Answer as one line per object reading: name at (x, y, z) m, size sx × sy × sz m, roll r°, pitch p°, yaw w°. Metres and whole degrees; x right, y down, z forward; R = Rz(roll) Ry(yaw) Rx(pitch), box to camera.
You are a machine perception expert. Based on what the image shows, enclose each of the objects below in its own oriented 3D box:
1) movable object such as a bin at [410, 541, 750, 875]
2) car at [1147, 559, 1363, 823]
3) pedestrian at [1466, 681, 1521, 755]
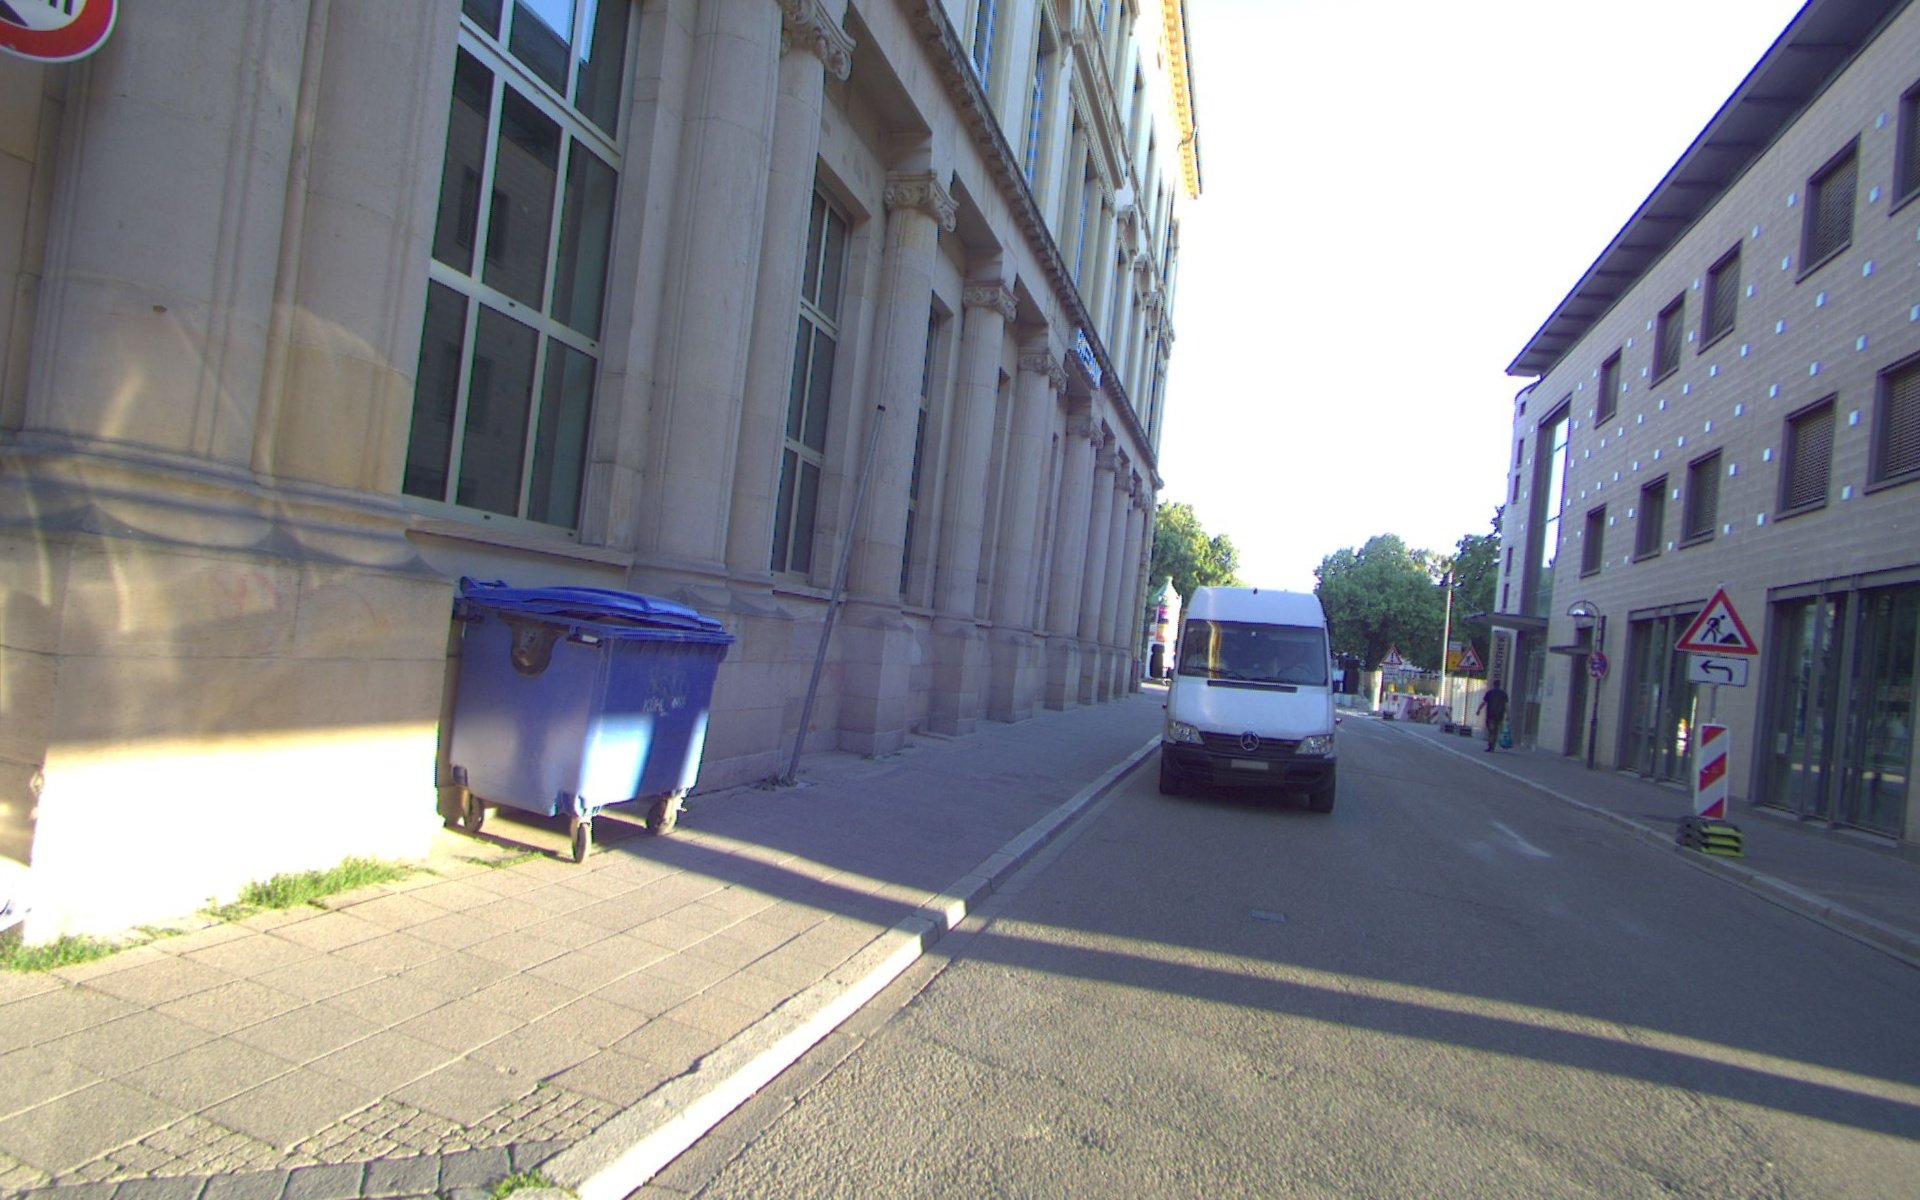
movable object such as a bin at (-2.045, 0.552, 5.576) m, size 1.057 × 1.492 × 1.188 m, roll 9°, pitch 0°, yaw 21°
car at (3.839, 1.087, 13.429) m, size 1.964 × 2.542 × 6.475 m, roll 4°, pitch -2°, yaw 15°
pedestrian at (13.517, 2.966, 25.510) m, size 0.908 × 1.722 × 0.869 m, roll 6°, pitch -1°, yaw 17°
